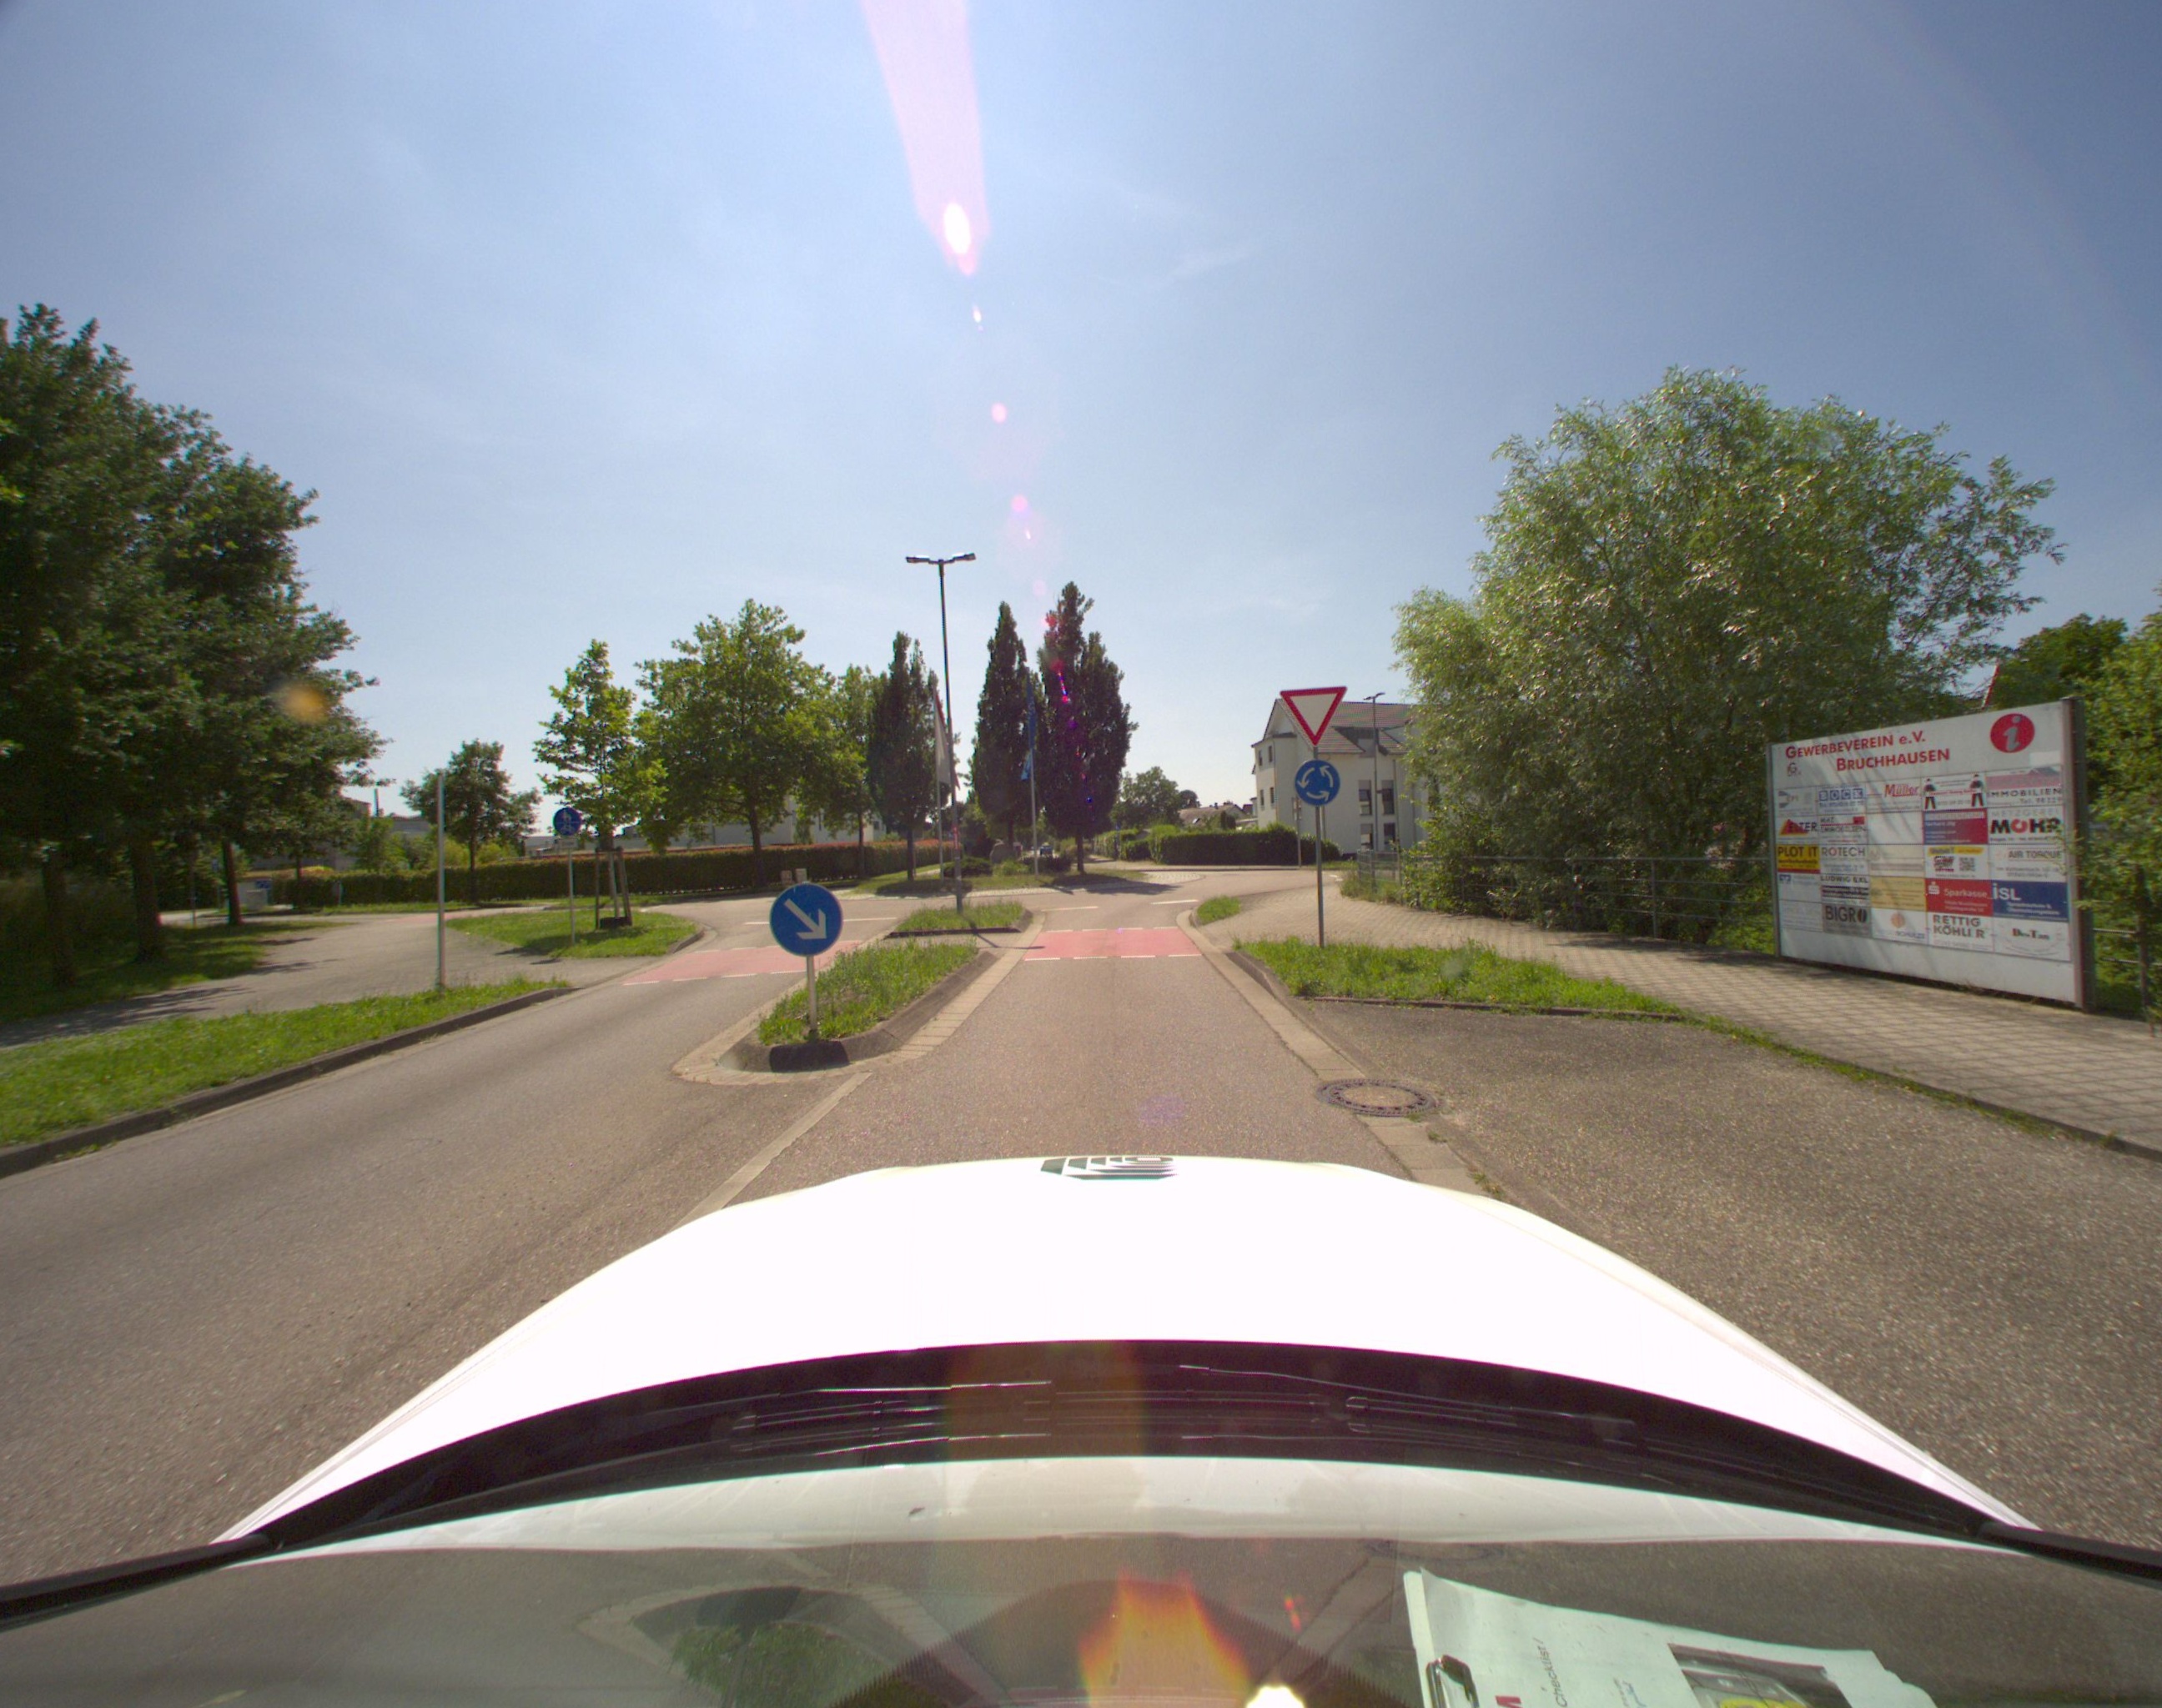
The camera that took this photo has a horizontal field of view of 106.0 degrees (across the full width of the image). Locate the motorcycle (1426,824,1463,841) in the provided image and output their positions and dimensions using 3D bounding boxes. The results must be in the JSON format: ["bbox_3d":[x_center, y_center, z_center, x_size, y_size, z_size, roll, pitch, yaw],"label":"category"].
[{"bbox_3d":[22.533,-1.310,50.573,0.672,1.013,2.353,-1,0,-19],"label":"motorcycle"}]

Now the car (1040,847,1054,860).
[{"bbox_3d":[-5.033,-0.113,120.711,1.918,1.886,3.996,-1,0,-3],"label":"car"}]
